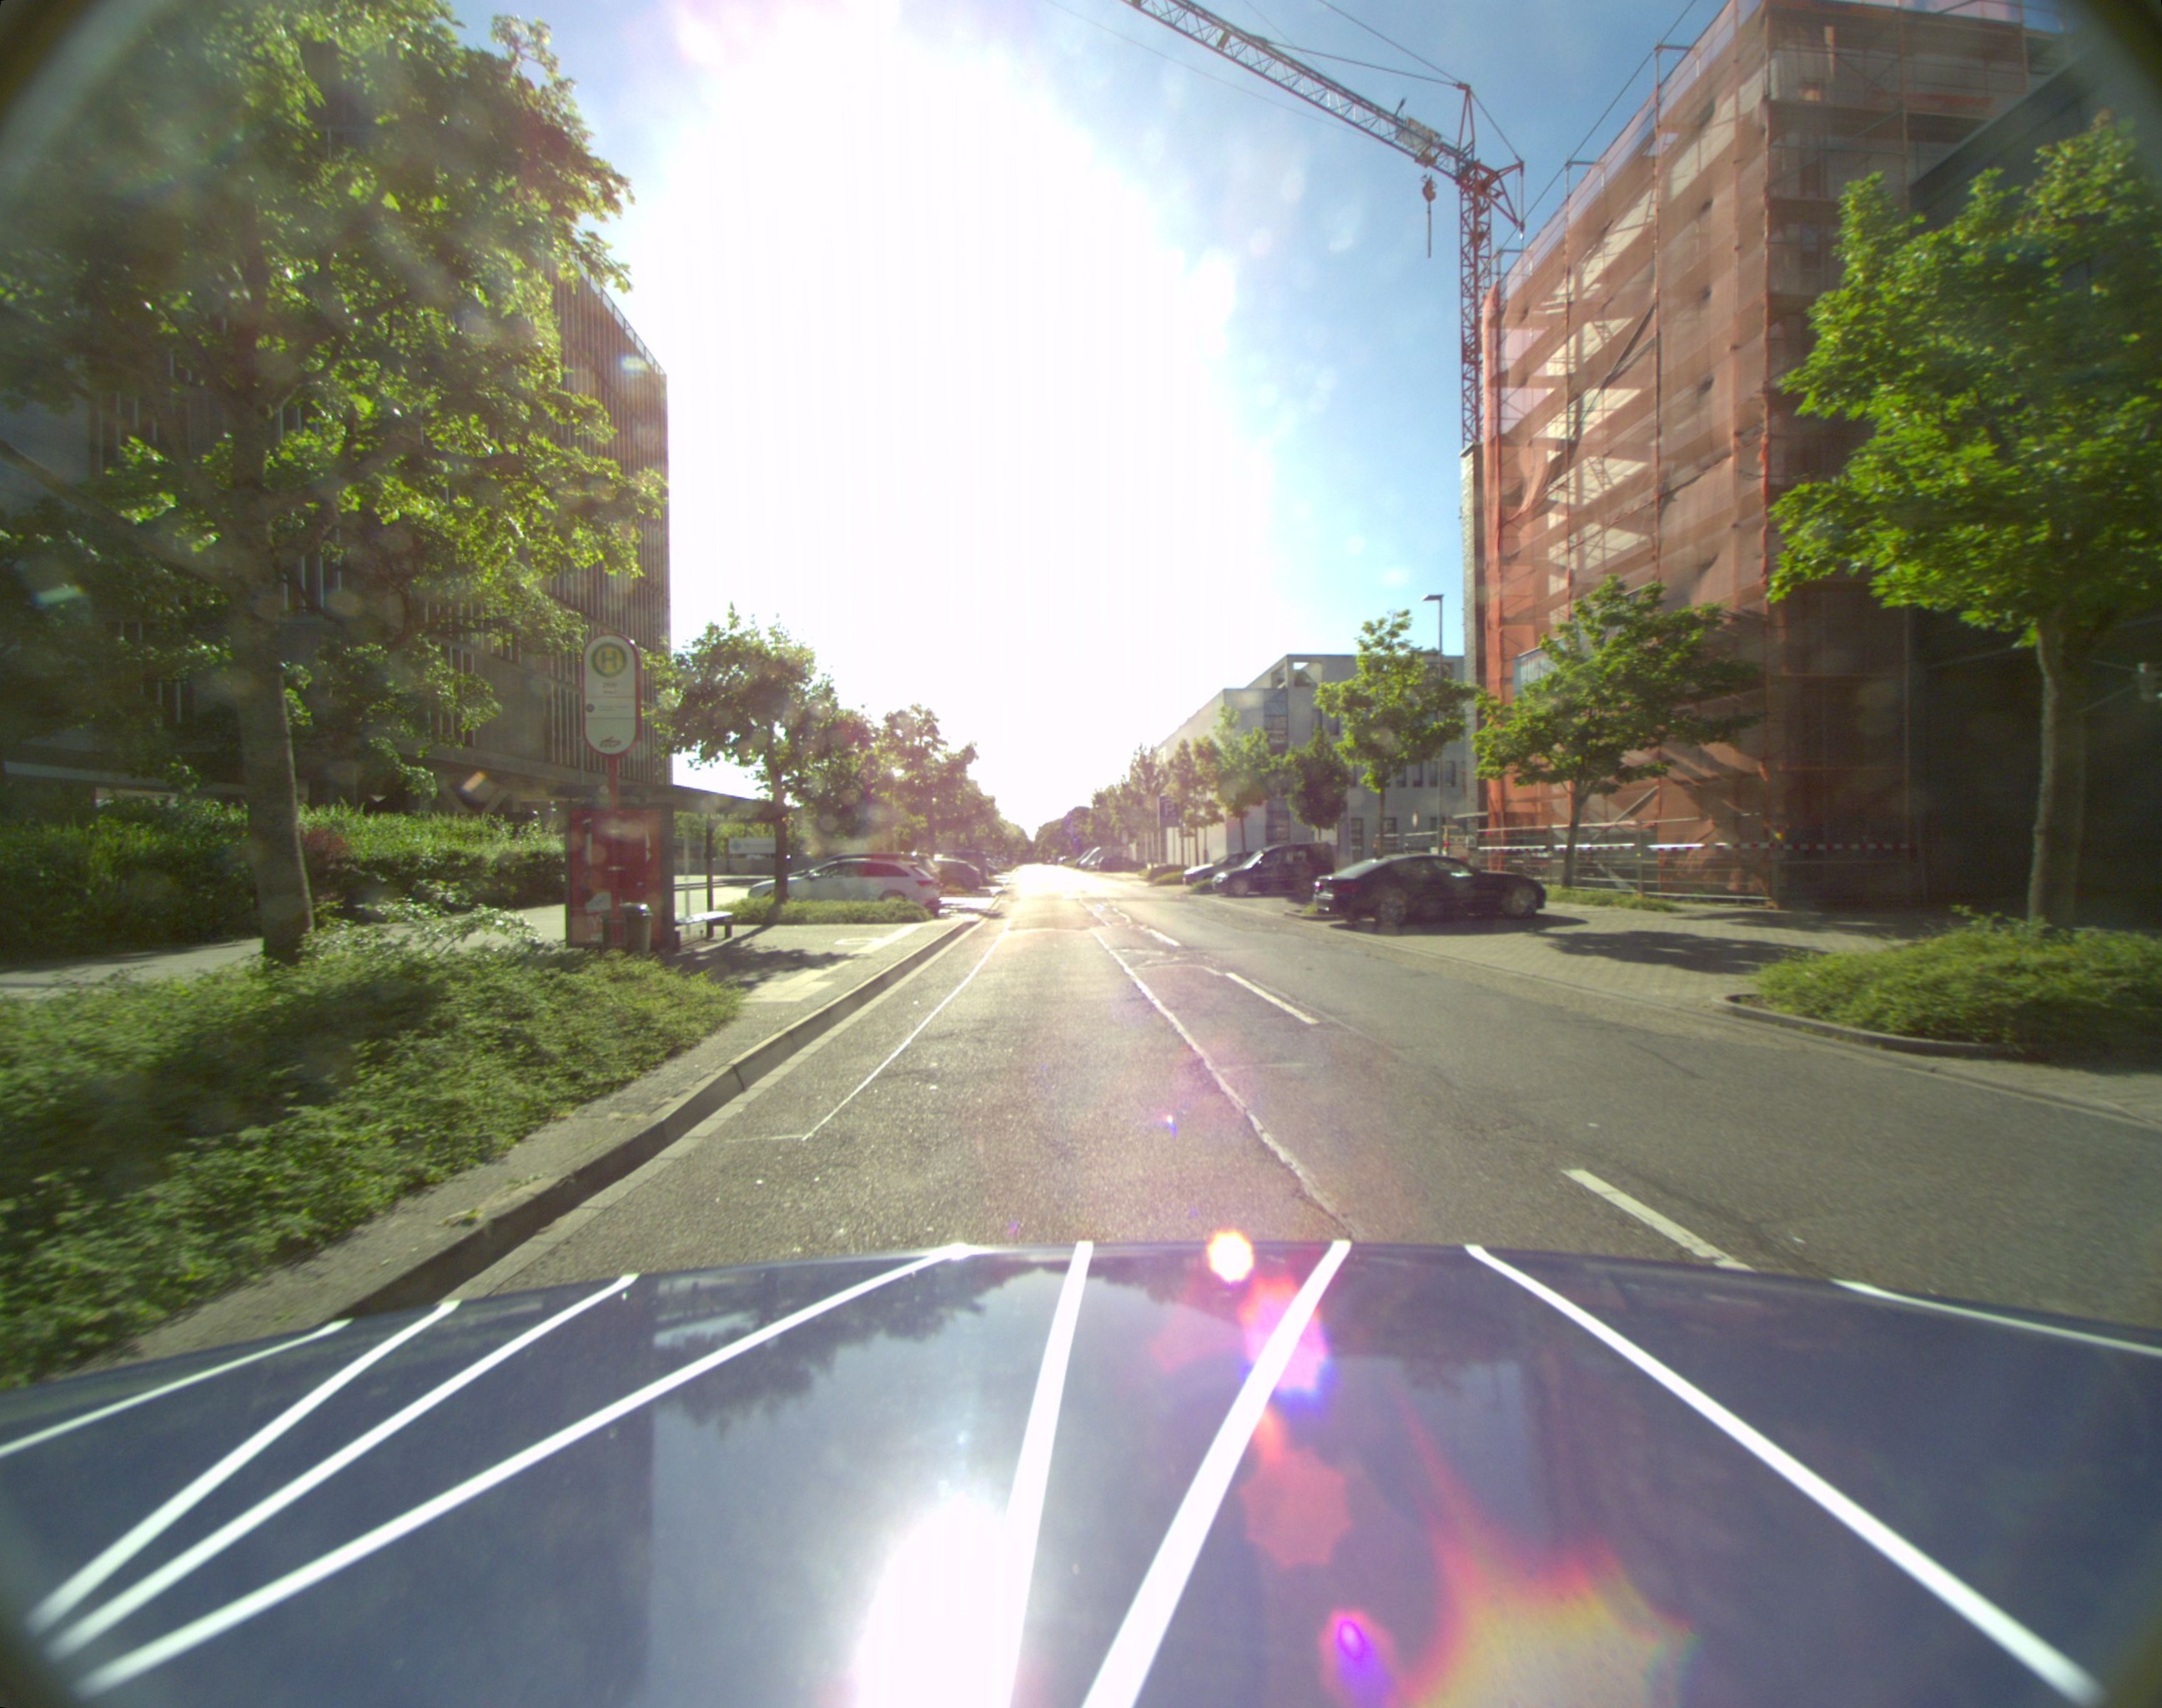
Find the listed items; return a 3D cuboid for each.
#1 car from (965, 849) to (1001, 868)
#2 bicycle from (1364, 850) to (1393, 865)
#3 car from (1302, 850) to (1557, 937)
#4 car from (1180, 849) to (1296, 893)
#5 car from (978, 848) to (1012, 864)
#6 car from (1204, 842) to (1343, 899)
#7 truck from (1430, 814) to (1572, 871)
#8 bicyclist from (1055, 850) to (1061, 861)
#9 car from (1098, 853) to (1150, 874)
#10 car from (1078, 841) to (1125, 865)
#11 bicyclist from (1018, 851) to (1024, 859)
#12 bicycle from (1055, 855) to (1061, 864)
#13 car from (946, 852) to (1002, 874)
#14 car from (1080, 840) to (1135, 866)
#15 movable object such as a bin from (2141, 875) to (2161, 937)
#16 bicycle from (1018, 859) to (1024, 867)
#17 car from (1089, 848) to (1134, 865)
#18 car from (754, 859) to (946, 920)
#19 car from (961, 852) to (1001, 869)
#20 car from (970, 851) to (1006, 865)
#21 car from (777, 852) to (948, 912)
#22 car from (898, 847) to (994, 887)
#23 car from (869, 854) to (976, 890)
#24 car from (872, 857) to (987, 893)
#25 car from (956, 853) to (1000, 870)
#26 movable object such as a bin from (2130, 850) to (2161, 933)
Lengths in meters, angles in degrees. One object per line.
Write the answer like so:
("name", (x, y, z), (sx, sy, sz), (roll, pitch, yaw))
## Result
("car", (-9.607, 0.433, 74.618), (3.392, 1.877, 1.695), (0, 1, -5))
("bicycle", (25.583, 0.294, 65.247), (2.263, 1.203, 0.717), (0, 1, -9))
("car", (7.122, 0.744, 15.782), (4.399, 1.424, 1.976), (-3, 1, -8))
("car", (6.483, 0.680, 31.598), (4.397, 1.505, 1.693), (-3, 1, -3))
("car", (-9.517, 0.211, 84.135), (3.718, 1.662, 1.675), (0, 1, -5))
("car", (6.813, 0.564, 27.138), (4.397, 1.735, 1.846), (-3, 1, -3))
("truck", (20.751, -0.572, 37.704), (5.858, 2.715, 2.268), (0, 1, -2))
("bicyclist", (-3.492, 0.227, 115.397), (0.792, 1.696, 1.103), (0, 1, -3))
("car", (3.729, 0.814, 66.366), (4.317, 1.505, 1.718), (-3, 1, -4))
("car", (2.473, -0.150, 92.741), (5.584, 2.622, 2.010), (-3, 1, -2))
("bicyclist", (-9.392, 0.177, 119.260), (0.792, 1.215, 1.063), (0, 1, -3))
("bicycle", (-3.486, 0.841, 115.360), (0.792, 1.215, 2.262), (0, 0, -3))
("car", (-7.772, 0.622, 55.344), (3.963, 1.591, 1.675), (0, 1, -6))
("car", (2.818, -0.103, 80.825), (5.584, 2.468, 2.010), (-3, 1, -2))
("movable object such as a bin", (16.361, 0.780, 11.239), (0.488, 0.922, 0.610), (0, 1, -1))
("bicycle", (-9.385, 1.434, 119.203), (0.792, 1.215, 2.262), (0, 0, -3))
("car", (3.124, 0.283, 77.496), (4.317, 1.505, 1.693), (-3, 1, -4))
("car", (-5.844, 0.875, 19.682), (4.414, 1.454, 1.894), (0, 1, -4))
("car", (-9.439, 0.588, 71.971), (3.718, 1.557, 1.675), (0, 1, -5))
("car", (-9.946, 0.405, 81.488), (3.718, 1.516, 1.675), (0, 1, -5))
("car", (-6.176, 0.765, 21.948), (4.414, 1.631, 2.073), (0, 1, -4))
("car", (-6.546, 0.626, 37.201), (4.414, 1.881, 2.073), (0, 1, -4))
("car", (-6.970, 0.783, 33.899), (4.414, 1.548, 2.073), (0, 1, -4))
("car", (-6.195, 0.845, 31.470), (4.414, 1.401, 2.073), (0, 1, -4))
("car", (-9.140, 0.658, 67.336), (3.763, 1.418, 1.731), (0, 1, -5))
("movable object such as a bin", (17.328, 0.584, 11.642), (1.239, 1.273, 0.914), (0, 1, -1))
